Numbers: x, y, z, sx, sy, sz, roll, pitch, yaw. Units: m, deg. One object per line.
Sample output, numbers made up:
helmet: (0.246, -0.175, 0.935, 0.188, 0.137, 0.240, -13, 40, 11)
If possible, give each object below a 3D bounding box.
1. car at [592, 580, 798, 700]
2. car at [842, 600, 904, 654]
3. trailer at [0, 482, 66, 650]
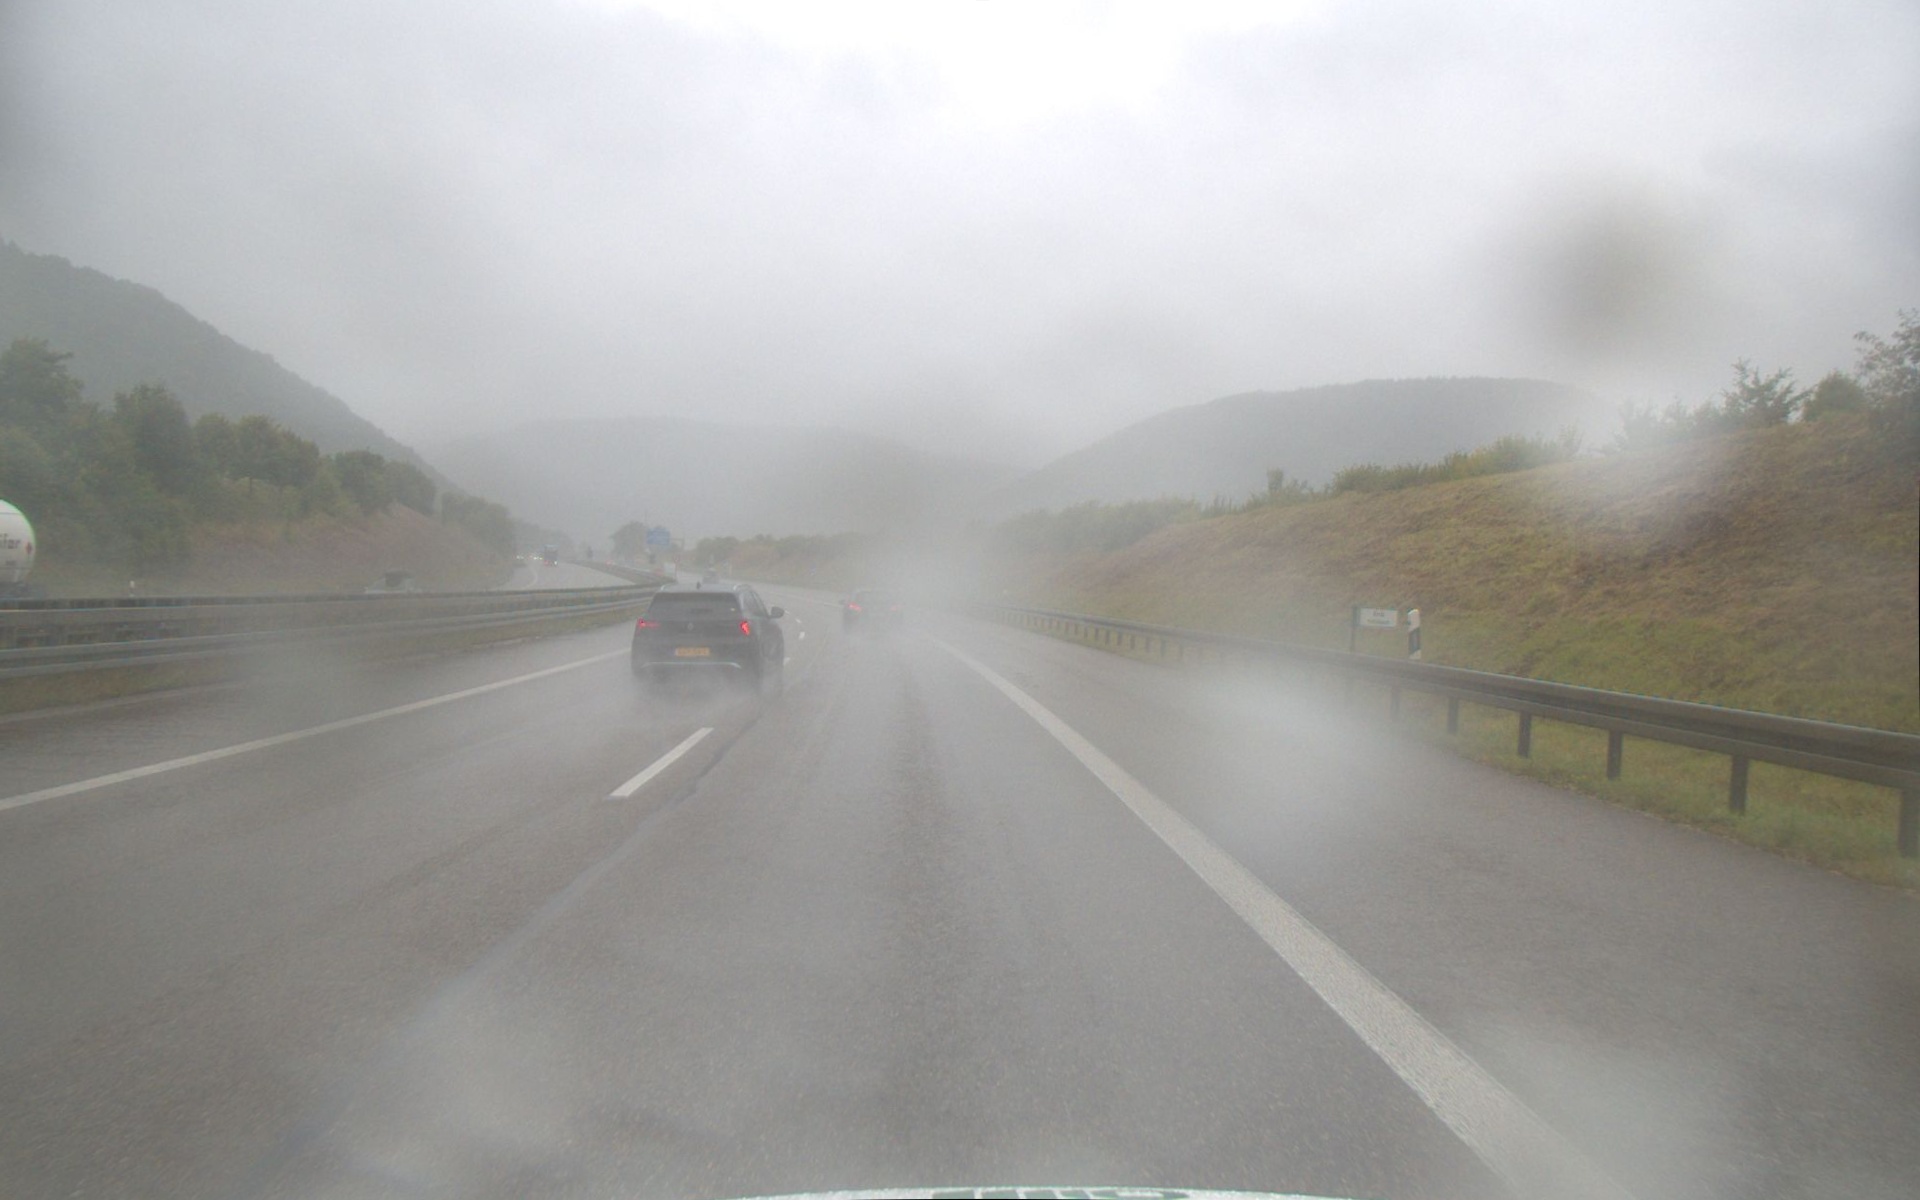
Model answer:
car: (-3.799, 0.556, 24.653, 2.357, 1.542, 4.782, 2, 0, -1)
car: (-2.636, 0.779, 49.494, 1.646, 1.498, 3.810, 2, 0, -5)
trailer: (-23.851, -0.782, 35.668, 2.874, 3.970, 12.561, 0, 0, -3)
